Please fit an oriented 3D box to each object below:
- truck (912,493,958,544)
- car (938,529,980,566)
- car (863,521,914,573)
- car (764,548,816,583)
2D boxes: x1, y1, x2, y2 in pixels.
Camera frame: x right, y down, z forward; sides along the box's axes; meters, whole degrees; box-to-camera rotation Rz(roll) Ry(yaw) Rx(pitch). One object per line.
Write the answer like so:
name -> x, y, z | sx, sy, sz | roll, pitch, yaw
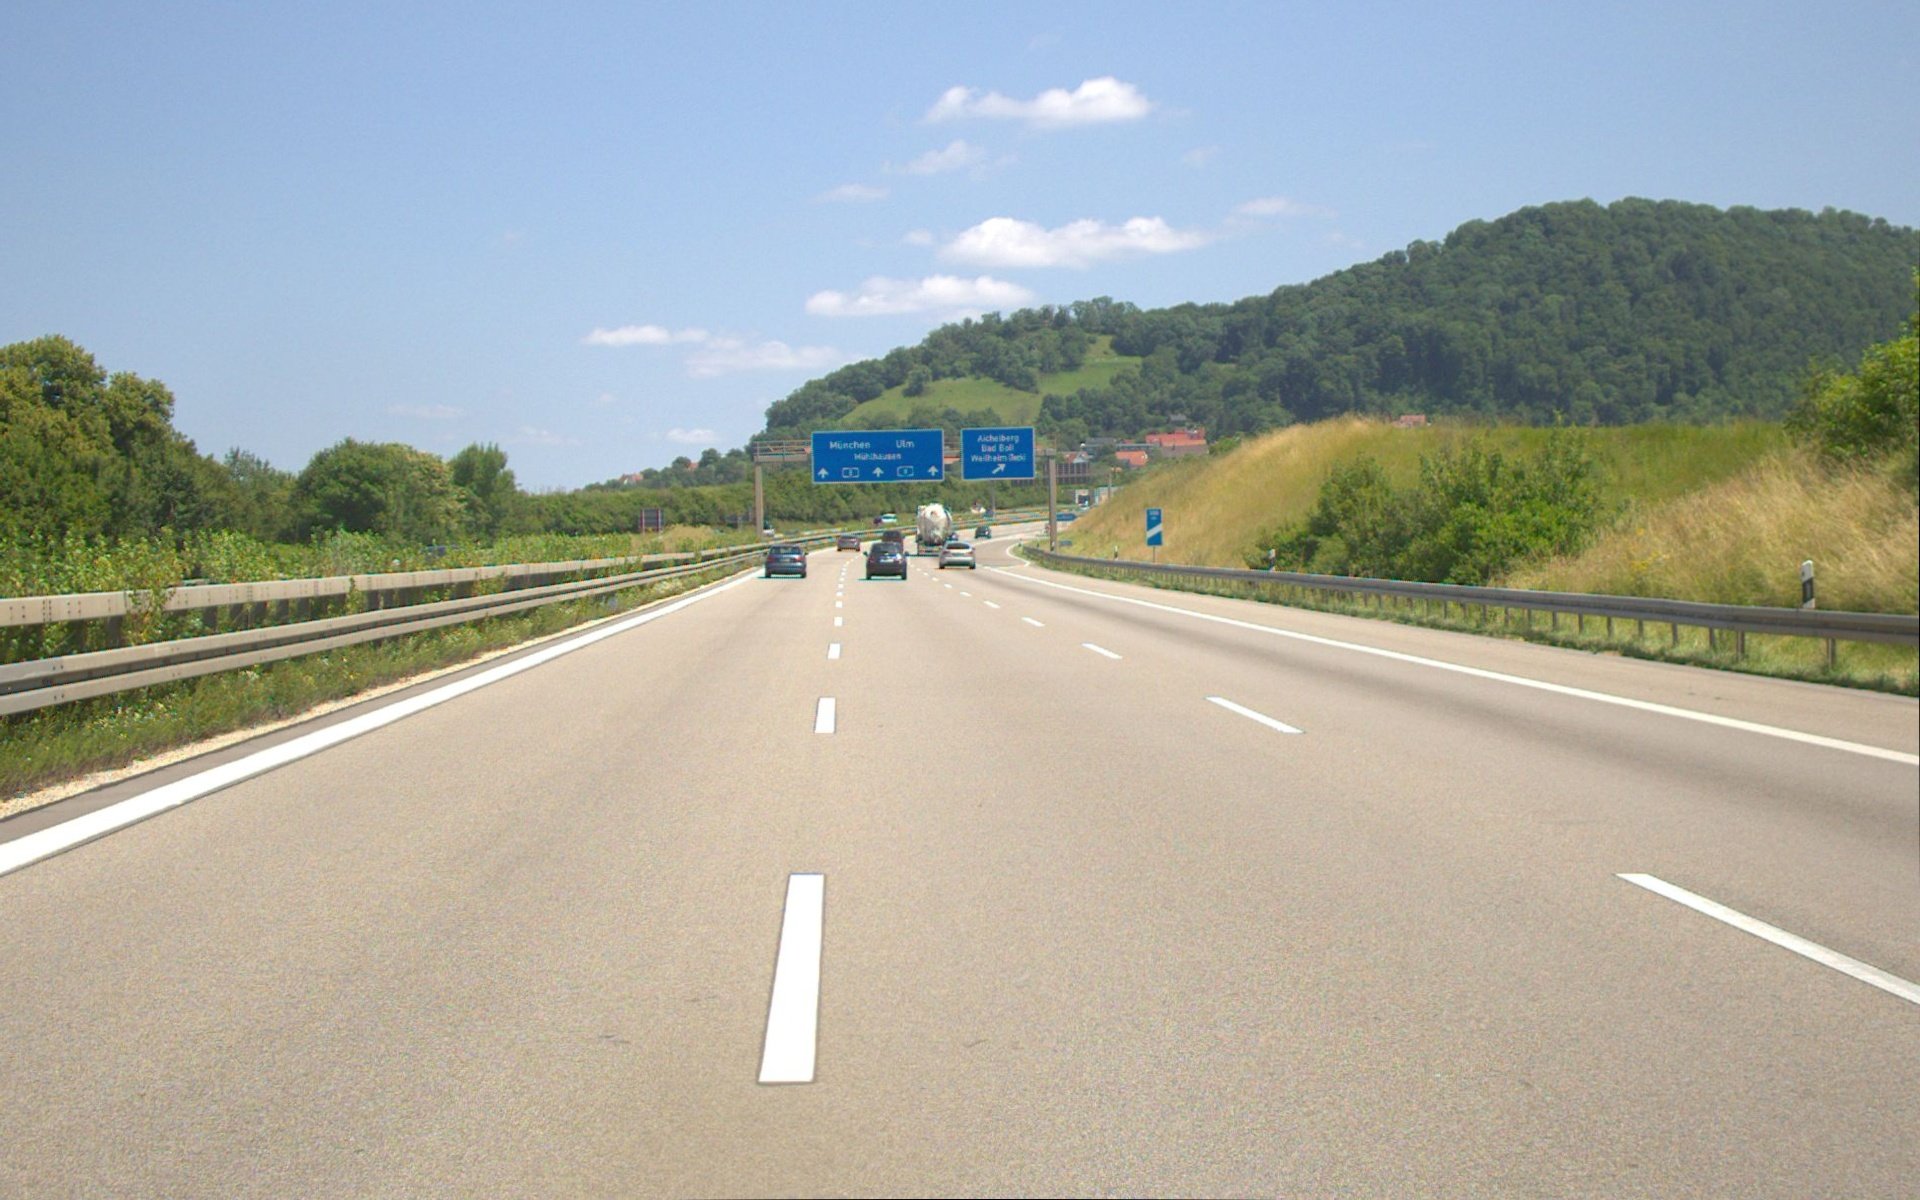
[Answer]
truck -> -1.896, -6.046, 257.299 | 3.328, 3.677, 7.602 | 1, 0, -1
car -> -0.061, -2.715, 175.877 | 1.993, 1.812, 4.000 | -2, 1, -1
car -> -2.859, -2.091, 137.305 | 1.993, 2.007, 4.000 | 1, 0, -1
car -> -7.016, -1.426, 142.206 | 1.993, 1.384, 4.000 | 1, 0, -1
